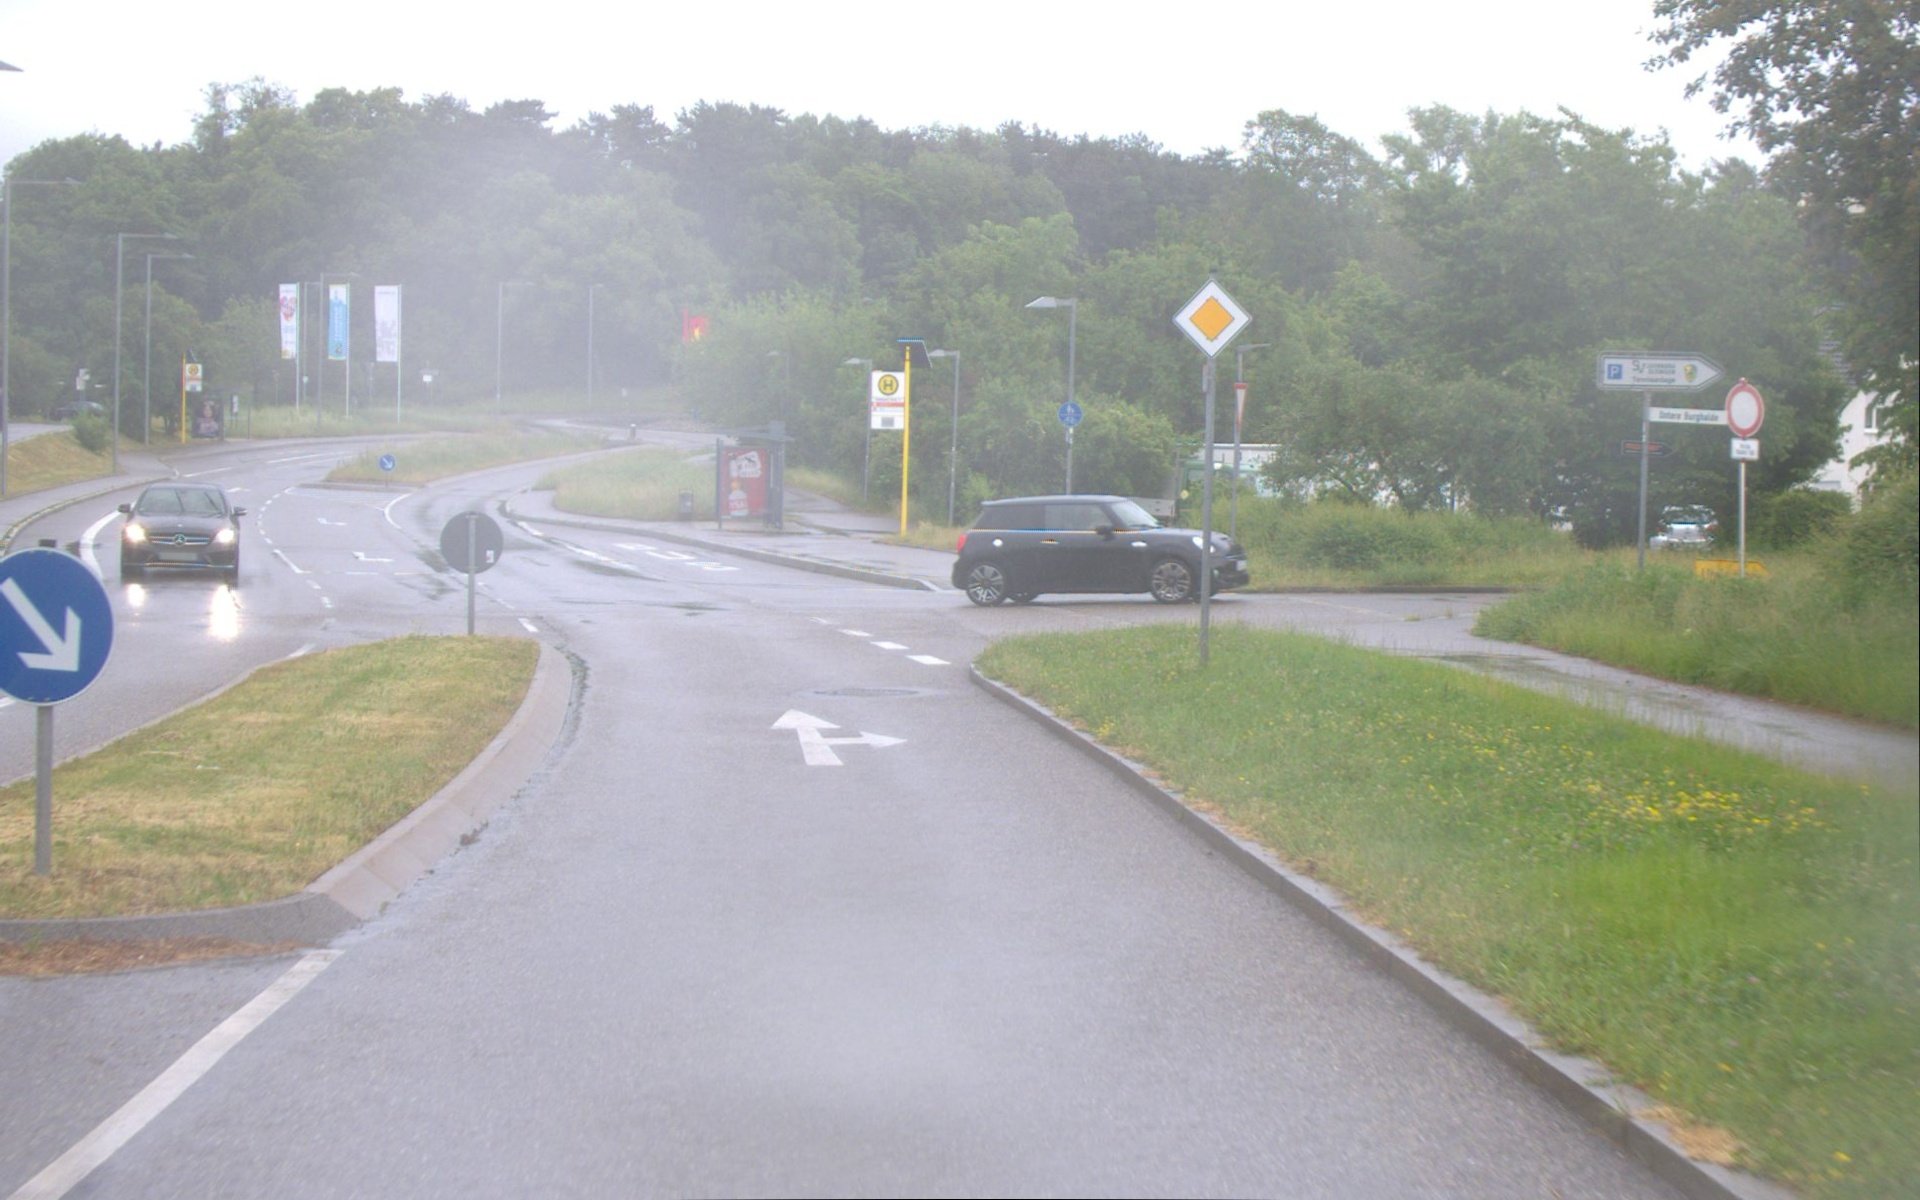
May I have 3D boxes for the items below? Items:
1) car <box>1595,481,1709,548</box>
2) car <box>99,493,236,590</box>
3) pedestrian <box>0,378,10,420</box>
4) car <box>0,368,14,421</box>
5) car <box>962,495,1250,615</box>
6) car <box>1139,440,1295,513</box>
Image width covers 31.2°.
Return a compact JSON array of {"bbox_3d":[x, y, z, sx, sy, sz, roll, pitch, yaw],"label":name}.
[{"bbox_3d":[16.962,-2.121,84.464,1.930,1.502,4.001,0,4,-1],"label":"car"},{"bbox_3d":[-12.599,-0.963,54.868,1.967,1.409,4.417,-2,2,-11],"label":"car"},{"bbox_3d":[-36.978,-7.754,132.623,0.566,1.614,0.637,0,2,-23],"label":"pedestrian"},{"bbox_3d":[-47.267,-9.644,160.861,5.674,2.396,2.001,0,2,-11],"label":"car"},{"bbox_3d":[1.924,-0.603,44.936,3.524,1.351,1.459,3,2,11],"label":"car"},{"bbox_3d":[6.553,-3.128,87.792,3.420,1.684,1.995,0,-2,38],"label":"car"}]
